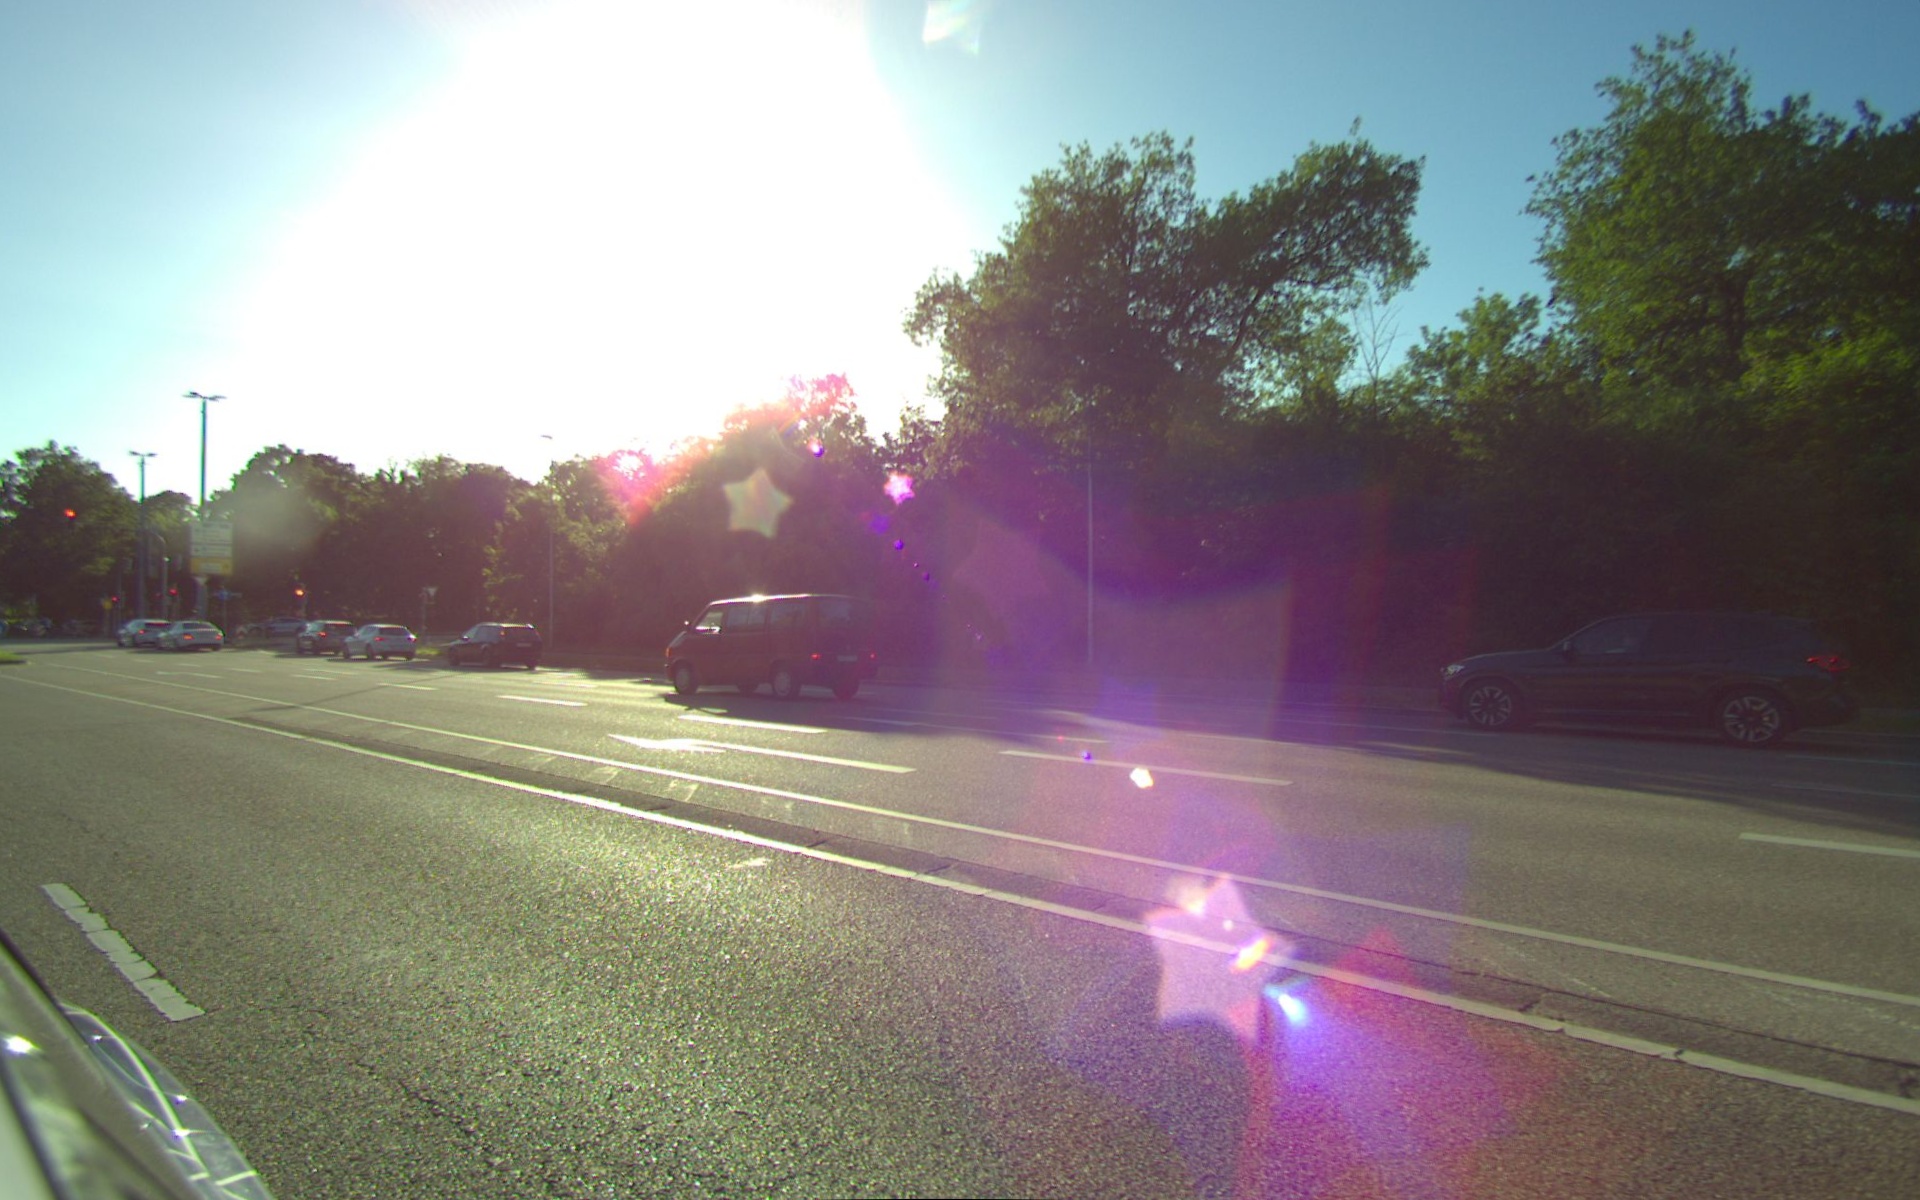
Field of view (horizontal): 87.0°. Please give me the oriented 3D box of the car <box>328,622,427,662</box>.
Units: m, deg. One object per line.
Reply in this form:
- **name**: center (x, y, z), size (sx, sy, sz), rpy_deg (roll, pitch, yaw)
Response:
- **car**: center (-24.688, 1.754, 42.844), size (4.642, 1.576, 1.974), rpy_deg (-1, -5, 38)

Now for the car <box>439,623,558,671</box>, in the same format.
- **car**: center (-16.209, 1.623, 35.429), size (4.645, 1.576, 1.973), rpy_deg (-1, -4, 40)

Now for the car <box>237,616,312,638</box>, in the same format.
- **car**: center (-53.329, 2.114, 78.830), size (4.661, 1.700, 2.006), rpy_deg (1, -2, -31)

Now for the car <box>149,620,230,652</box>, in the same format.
- **car**: center (-37.323, 1.733, 48.985), size (4.641, 1.462, 1.975), rpy_deg (-1, -3, 38)

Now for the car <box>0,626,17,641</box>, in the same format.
- **car**: center (-104.222, 3.615, 108.658), size (1.987, 1.530, 3.969), rpy_deg (0, 0, 23)

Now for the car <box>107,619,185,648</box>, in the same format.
- **car**: center (-43.147, 1.782, 53.598), size (4.832, 1.462, 1.976), rpy_deg (-1, -3, 36)

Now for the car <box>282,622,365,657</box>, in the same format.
- **car**: center (-30.079, 1.852, 47.790), size (4.645, 1.576, 1.973), rpy_deg (-1, -4, 40)

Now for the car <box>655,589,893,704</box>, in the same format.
- **car**: center (-3.694, 0.874, 19.732), size (4.641, 1.977, 1.974), rpy_deg (-1, -3, 38)

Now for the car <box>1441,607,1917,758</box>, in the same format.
- **car**: center (9.230, 0.967, 13.392), size (4.840, 1.649, 1.973), rpy_deg (-1, -2, 40)
